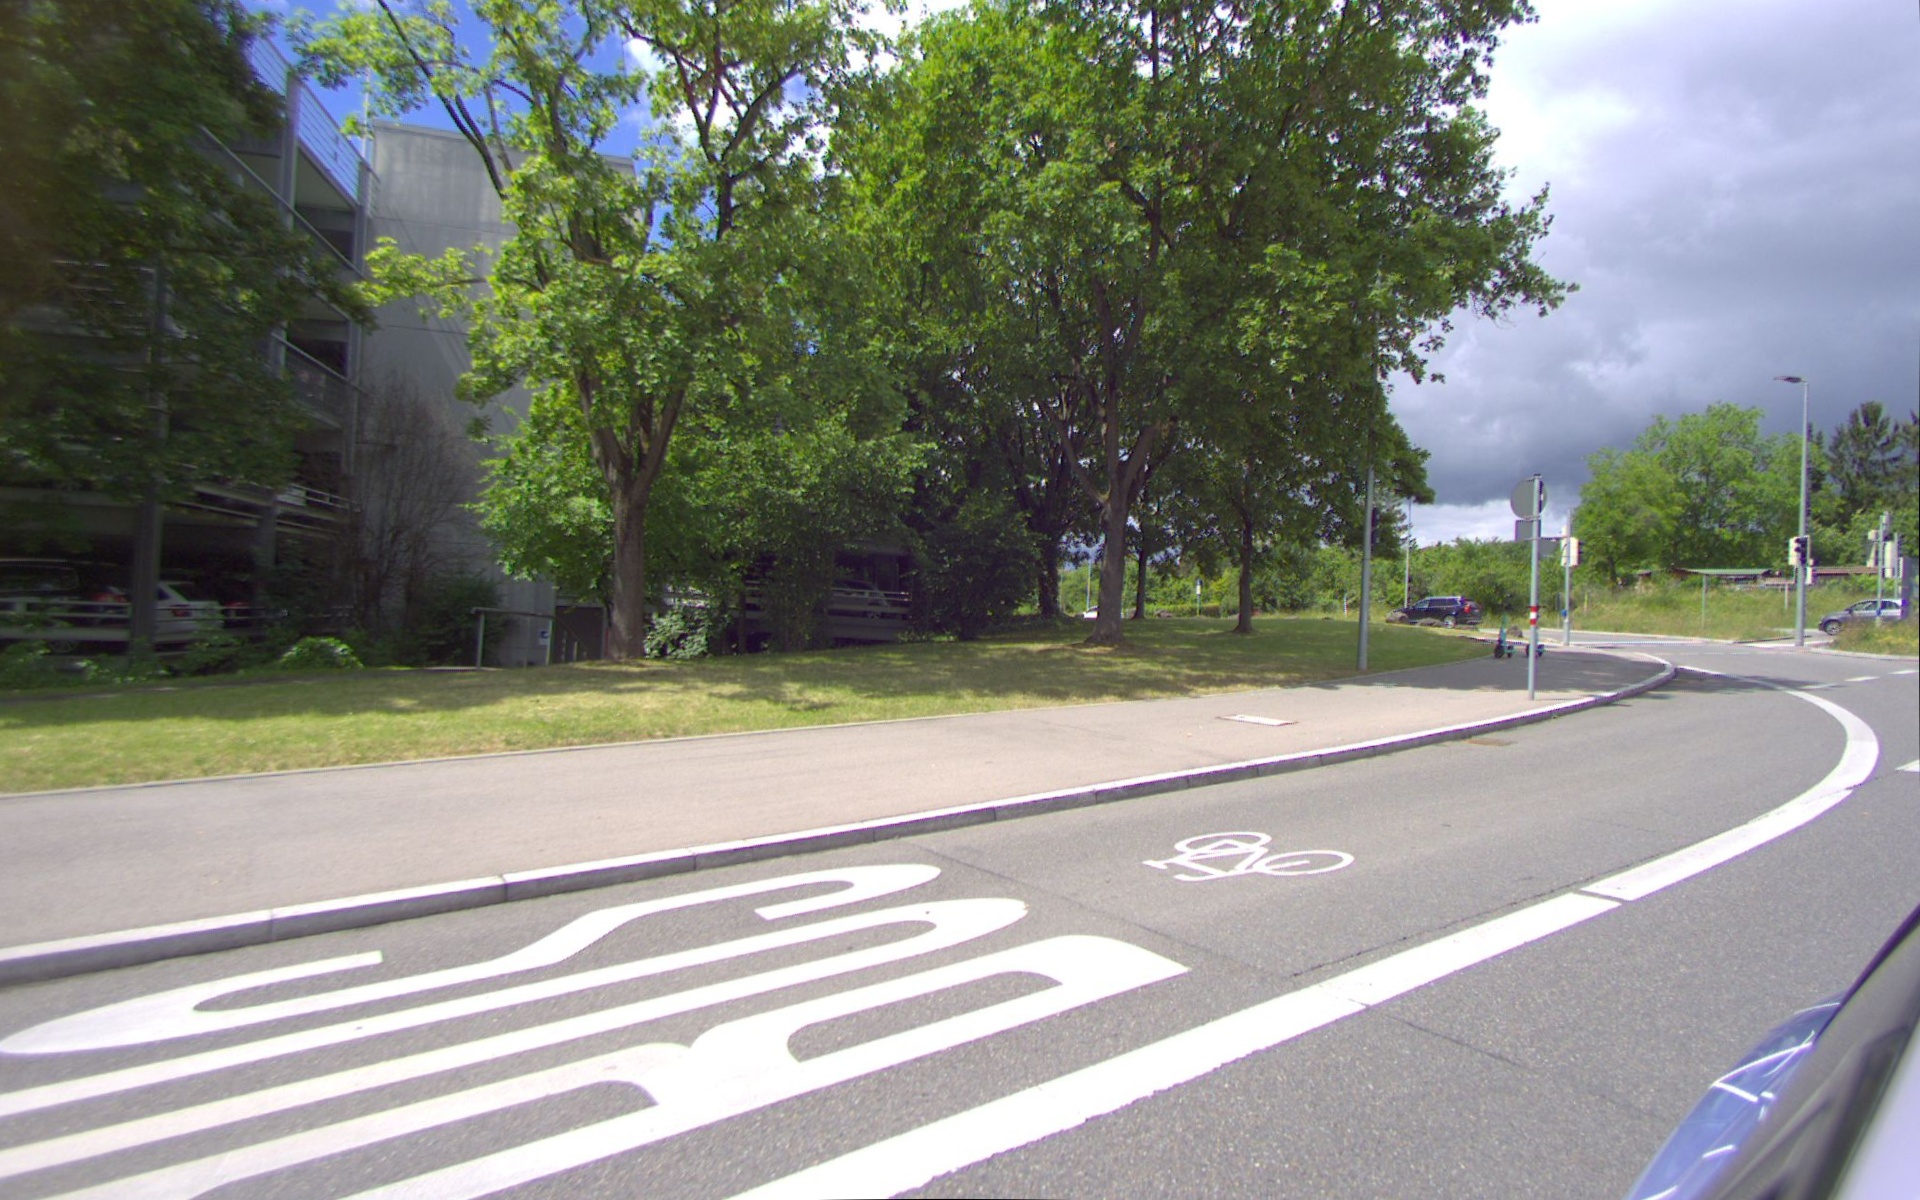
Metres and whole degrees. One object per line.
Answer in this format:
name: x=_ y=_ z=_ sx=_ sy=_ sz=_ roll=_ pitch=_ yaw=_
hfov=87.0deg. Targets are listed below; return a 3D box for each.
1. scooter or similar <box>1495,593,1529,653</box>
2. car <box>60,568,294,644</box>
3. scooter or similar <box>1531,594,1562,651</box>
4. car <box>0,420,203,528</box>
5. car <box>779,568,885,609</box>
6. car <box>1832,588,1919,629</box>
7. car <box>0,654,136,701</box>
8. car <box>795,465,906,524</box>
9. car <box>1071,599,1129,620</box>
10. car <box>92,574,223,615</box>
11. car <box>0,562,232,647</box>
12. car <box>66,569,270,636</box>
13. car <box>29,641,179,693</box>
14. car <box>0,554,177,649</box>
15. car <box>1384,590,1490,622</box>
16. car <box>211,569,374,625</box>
scooter or similar: x=12.458 y=0.501 z=22.819 sx=0.530 sy=1.280 sz=1.175 roll=2 pitch=1 yaw=34
car: x=-17.536 y=0.166 z=22.852 sx=3.718 sy=1.491 sz=1.780 roll=3 pitch=-2 yaw=-13
scooter or similar: x=13.698 y=0.517 z=23.633 sx=0.530 sy=1.280 sz=1.175 roll=2 pitch=1 yaw=34
car: x=-17.754 y=-2.454 z=20.060 sx=3.916 sy=1.817 sz=1.940 roll=0 pitch=-1 yaw=-14
car: x=-4.788 y=-0.394 z=37.714 sx=3.718 sy=1.309 sz=1.780 roll=3 pitch=-2 yaw=-13
car: x=36.861 y=0.350 z=39.841 sx=1.553 sy=1.479 sz=3.528 roll=4 pitch=-2 yaw=-28
car: x=-31.469 y=2.683 z=35.301 sx=3.807 sy=1.459 sz=1.760 roll=0 pitch=0 yaw=-14
car: x=-3.867 y=-3.666 z=35.513 sx=3.626 sy=1.562 sz=1.729 roll=2 pitch=-4 yaw=-12
car: x=10.564 y=0.693 z=76.514 sx=1.594 sy=1.488 sz=4.370 roll=-1 pitch=0 yaw=-41
car: x=-33.367 y=-0.234 z=42.204 sx=3.889 sy=1.659 sz=1.760 roll=0 pitch=0 yaw=-14
car: x=-17.066 y=0.105 z=20.131 sx=3.718 sy=1.491 sz=1.780 roll=3 pitch=-2 yaw=-13
car: x=-19.207 y=0.056 z=24.688 sx=3.547 sy=1.543 sz=1.636 roll=0 pitch=0 yaw=-14
car: x=-32.389 y=2.511 z=38.404 sx=3.916 sy=1.794 sz=1.888 roll=0 pitch=0 yaw=-12
car: x=-16.806 y=0.028 z=17.948 sx=4.300 sy=1.615 sz=1.660 roll=0 pitch=0 yaw=-14
car: x=26.081 y=0.306 z=55.536 sx=1.875 sy=1.711 sz=4.980 roll=0 pitch=0 yaw=-37
car: x=-19.075 y=-0.081 z=29.070 sx=3.547 sy=1.543 sz=1.636 roll=0 pitch=0 yaw=-14
